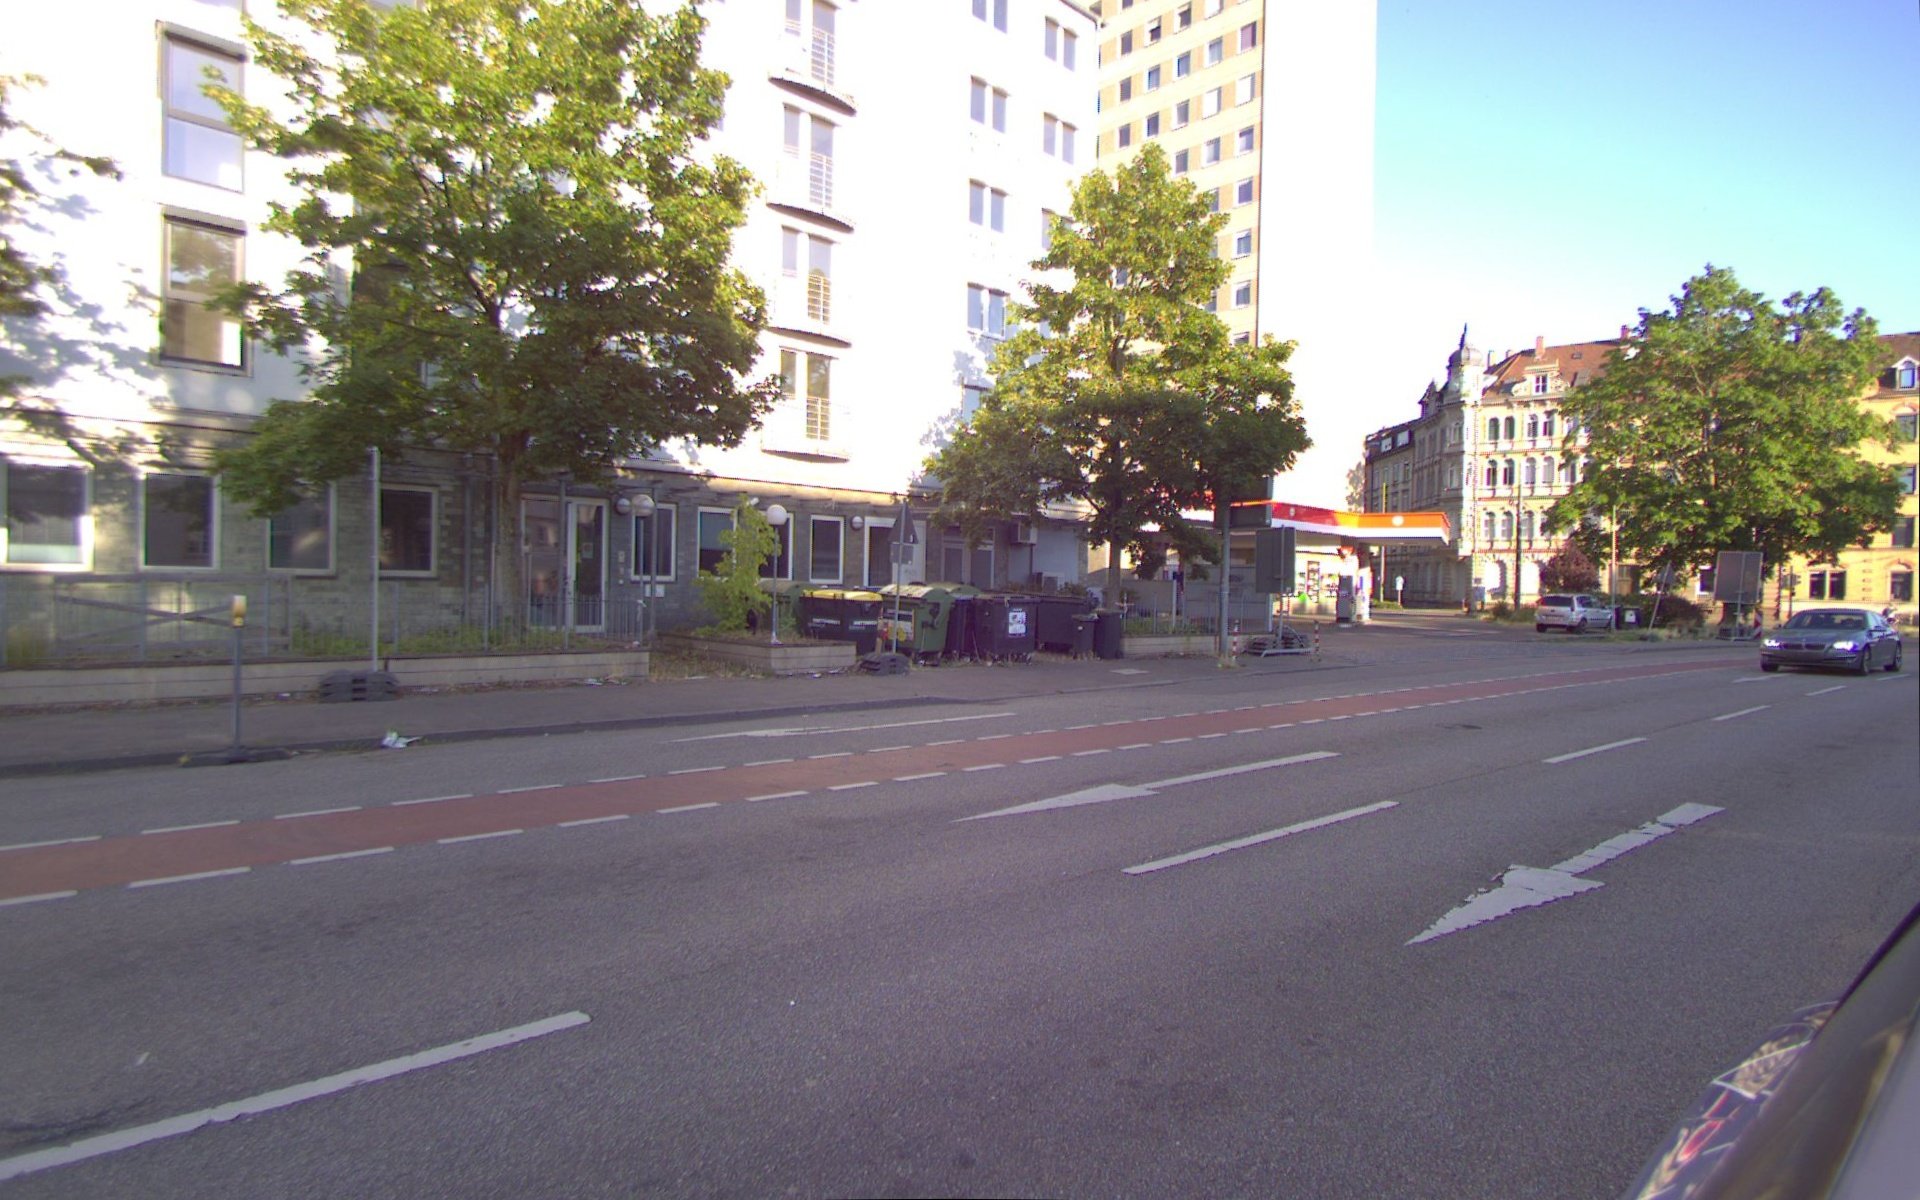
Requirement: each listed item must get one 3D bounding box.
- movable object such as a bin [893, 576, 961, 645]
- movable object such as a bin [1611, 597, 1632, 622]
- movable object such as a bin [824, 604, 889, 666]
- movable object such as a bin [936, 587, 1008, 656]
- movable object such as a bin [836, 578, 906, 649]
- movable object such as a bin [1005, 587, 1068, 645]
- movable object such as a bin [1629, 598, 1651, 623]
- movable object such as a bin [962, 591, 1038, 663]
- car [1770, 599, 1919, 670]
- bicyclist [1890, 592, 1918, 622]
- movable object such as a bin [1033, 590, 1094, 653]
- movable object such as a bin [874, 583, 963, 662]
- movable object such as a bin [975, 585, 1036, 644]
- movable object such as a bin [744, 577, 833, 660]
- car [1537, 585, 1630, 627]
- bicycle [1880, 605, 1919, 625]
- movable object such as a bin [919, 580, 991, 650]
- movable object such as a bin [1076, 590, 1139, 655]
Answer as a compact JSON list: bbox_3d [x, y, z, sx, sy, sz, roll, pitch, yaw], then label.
[{"bbox_3d":[-0.756,0.219,23.020,1.143,1.517,1.033,0,1,-43],"label":"movable object such as a bin"},{"bbox_3d":[27.824,0.412,42.573,0.674,1.031,0.544,0,1,-36],"label":"movable object such as a bin"},{"bbox_3d":[-1.876,0.612,18.308,0.851,1.058,0.806,2,1,45],"label":"movable object such as a bin"},{"bbox_3d":[0.247,0.425,20.897,1.143,1.345,0.954,0,1,-43],"label":"movable object such as a bin"},{"bbox_3d":[-1.975,0.281,22.460,1.143,1.517,1.033,0,1,-43],"label":"movable object such as a bin"},{"bbox_3d":[1.771,0.352,23.449,1.080,1.299,0.954,0,1,-43],"label":"movable object such as a bin"},{"bbox_3d":[28.137,0.428,41.887,0.674,1.031,0.544,0,1,-36],"label":"movable object such as a bin"},{"bbox_3d":[0.788,0.508,19.882,1.143,1.345,0.954,0,1,-43],"label":"movable object such as a bin"},{"bbox_3d":[20.503,0.722,23.372,4.581,1.467,1.819,0,0,-38],"label":"car"},{"bbox_3d":[52.442,0.375,56.229,1.062,1.669,0.721,2,1,43],"label":"bicyclist"},{"bbox_3d":[2.307,0.453,22.461,0.938,1.345,0.954,0,1,-43],"label":"movable object such as a bin"},{"bbox_3d":[-0.805,0.407,19.653,1.088,1.441,1.348,0,1,-45],"label":"movable object such as a bin"},{"bbox_3d":[1.093,0.320,24.178,1.080,1.345,0.954,0,1,-43],"label":"movable object such as a bin"},{"bbox_3d":[-3.261,0.321,19.242,1.088,1.479,1.348,0,1,-45],"label":"movable object such as a bin"},{"bbox_3d":[24.483,0.212,39.700,3.723,1.535,1.691,0,2,-34],"label":"car"},{"bbox_3d":[52.378,0.839,56.175,1.921,1.072,0.444,2,1,43],"label":"bicycle"},{"bbox_3d":[-0.110,0.309,22.026,1.143,1.467,1.033,0,1,-43],"label":"movable object such as a bin"},{"bbox_3d":[3.207,0.473,21.978,0.938,1.345,0.954,0,1,-43],"label":"movable object such as a bin"}]
